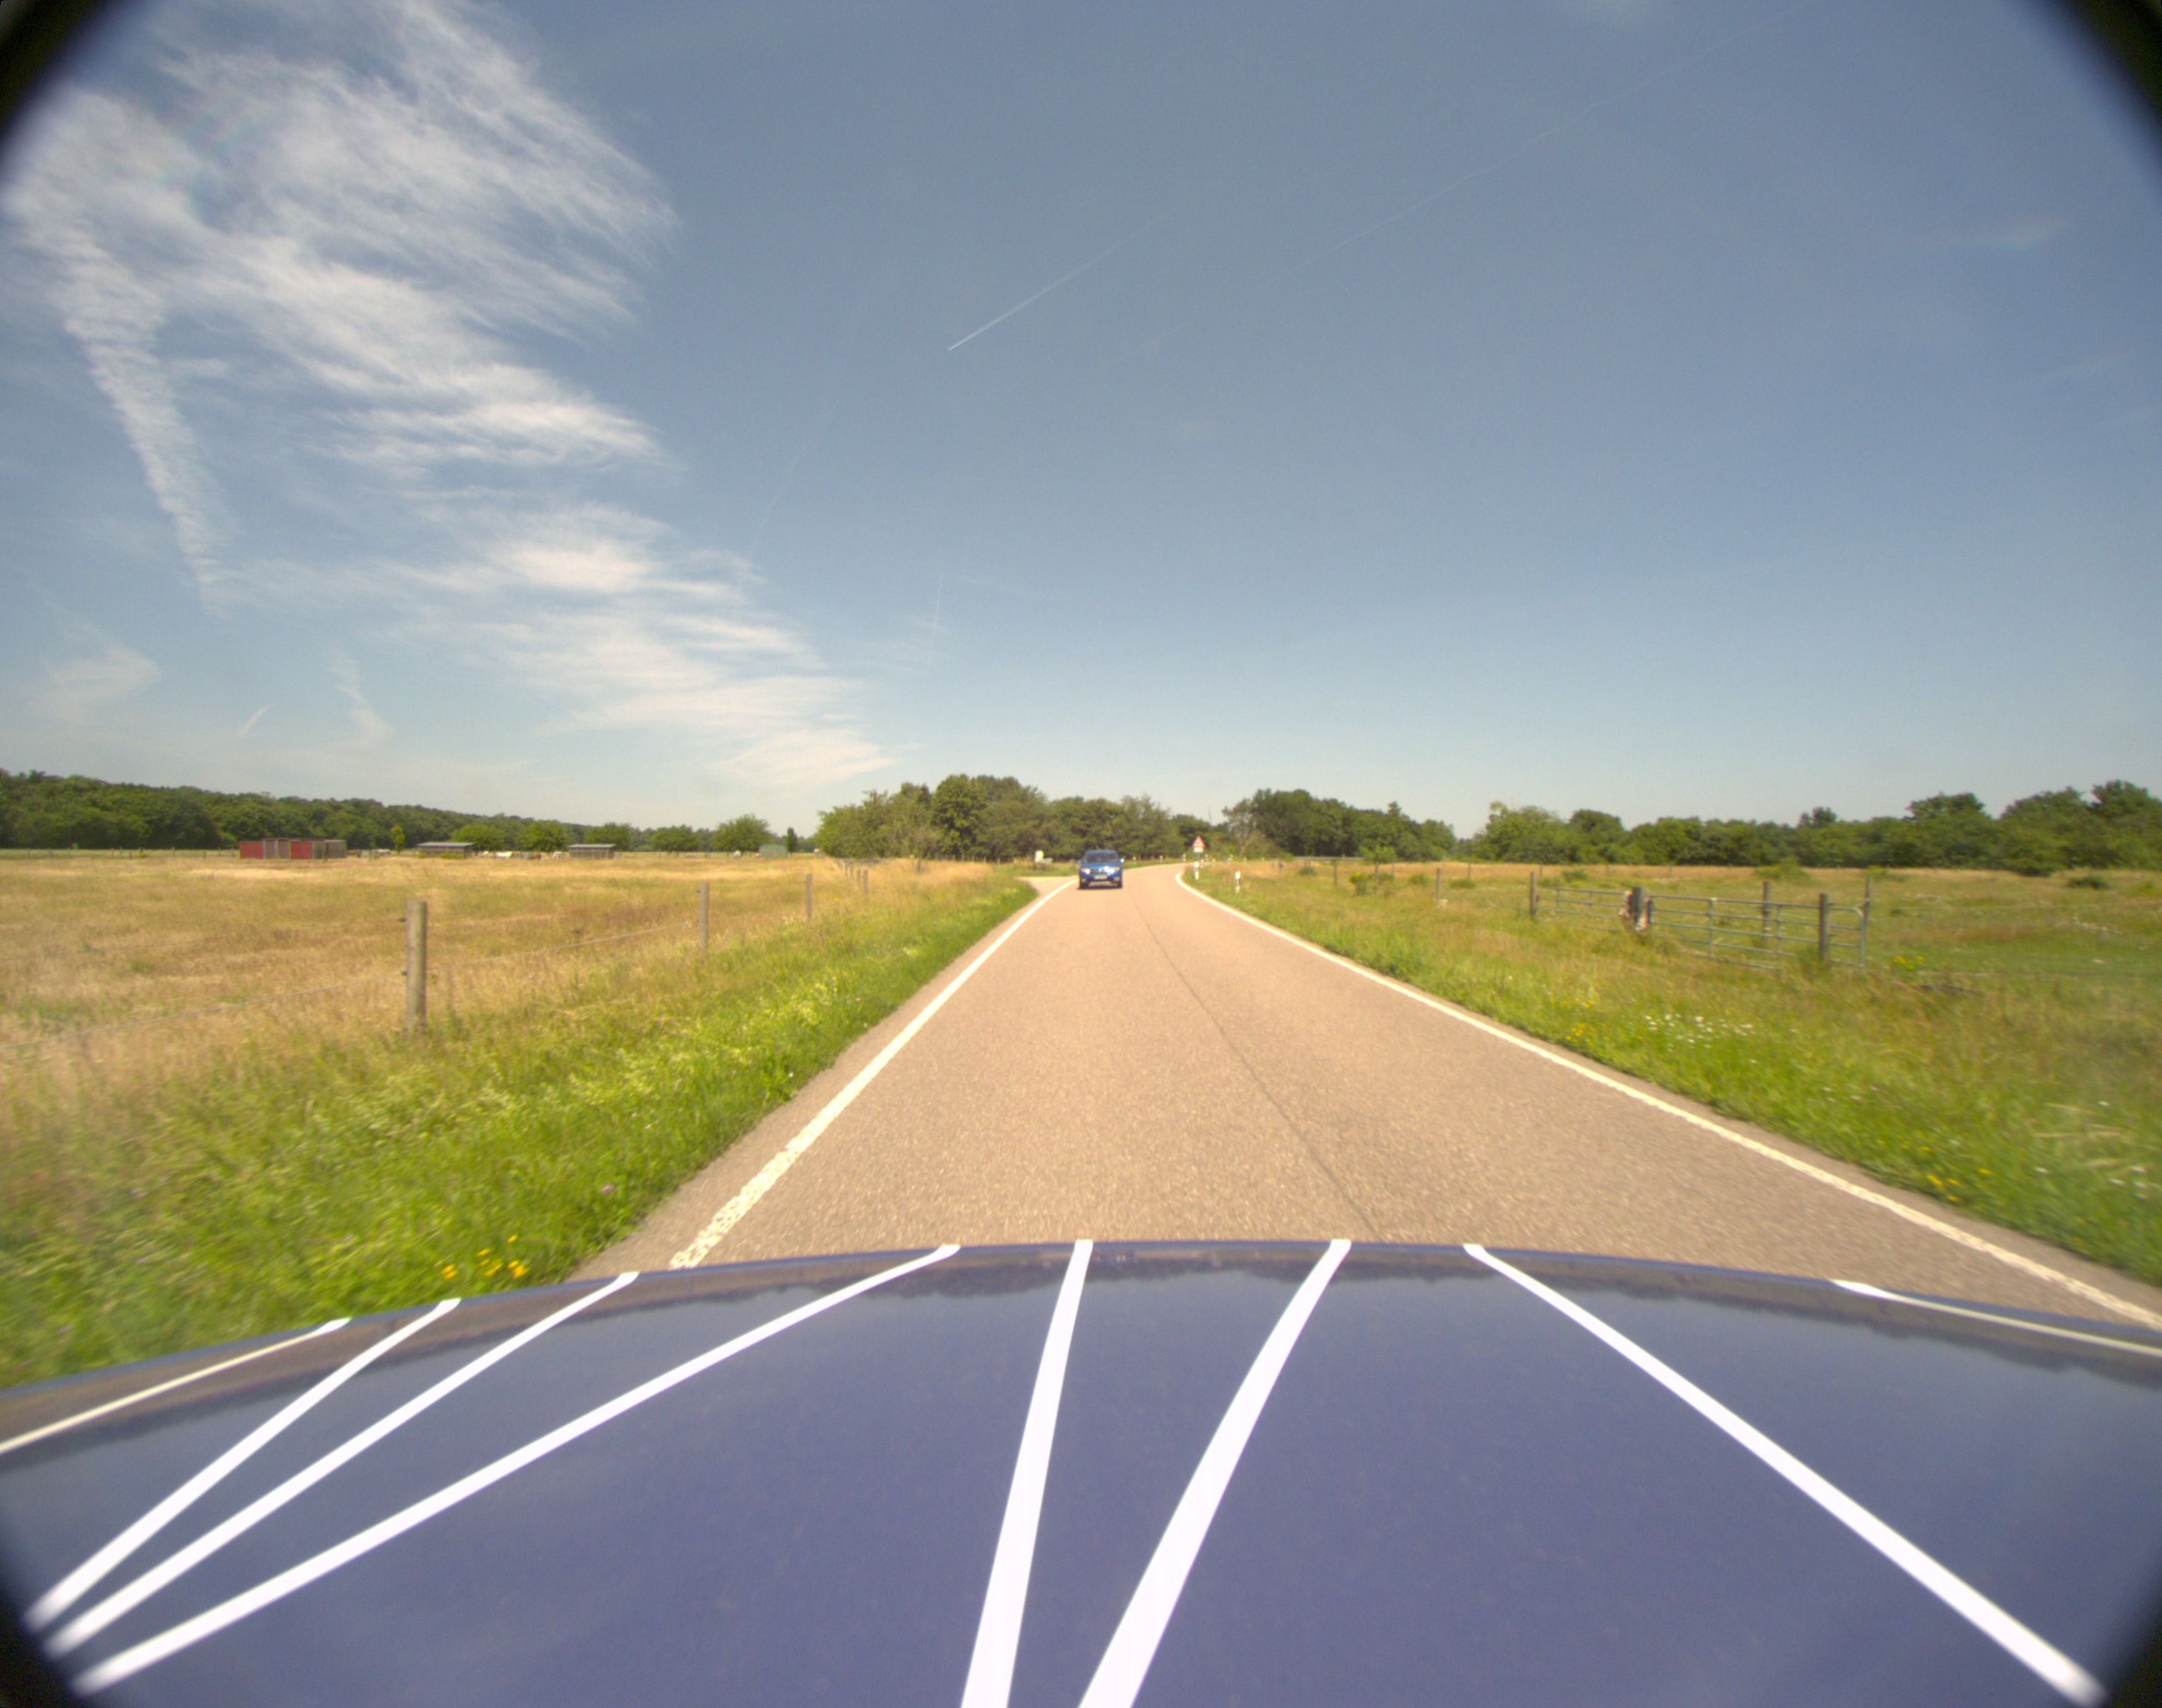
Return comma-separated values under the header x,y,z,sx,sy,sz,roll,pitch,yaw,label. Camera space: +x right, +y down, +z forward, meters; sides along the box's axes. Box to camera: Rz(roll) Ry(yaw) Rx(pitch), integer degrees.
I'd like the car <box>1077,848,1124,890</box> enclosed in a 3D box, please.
x,y,z,sx,sy,sz,roll,pitch,yaw,label
0.886,0.580,31.601,1.733,1.572,4.001,-1,0,4,car
